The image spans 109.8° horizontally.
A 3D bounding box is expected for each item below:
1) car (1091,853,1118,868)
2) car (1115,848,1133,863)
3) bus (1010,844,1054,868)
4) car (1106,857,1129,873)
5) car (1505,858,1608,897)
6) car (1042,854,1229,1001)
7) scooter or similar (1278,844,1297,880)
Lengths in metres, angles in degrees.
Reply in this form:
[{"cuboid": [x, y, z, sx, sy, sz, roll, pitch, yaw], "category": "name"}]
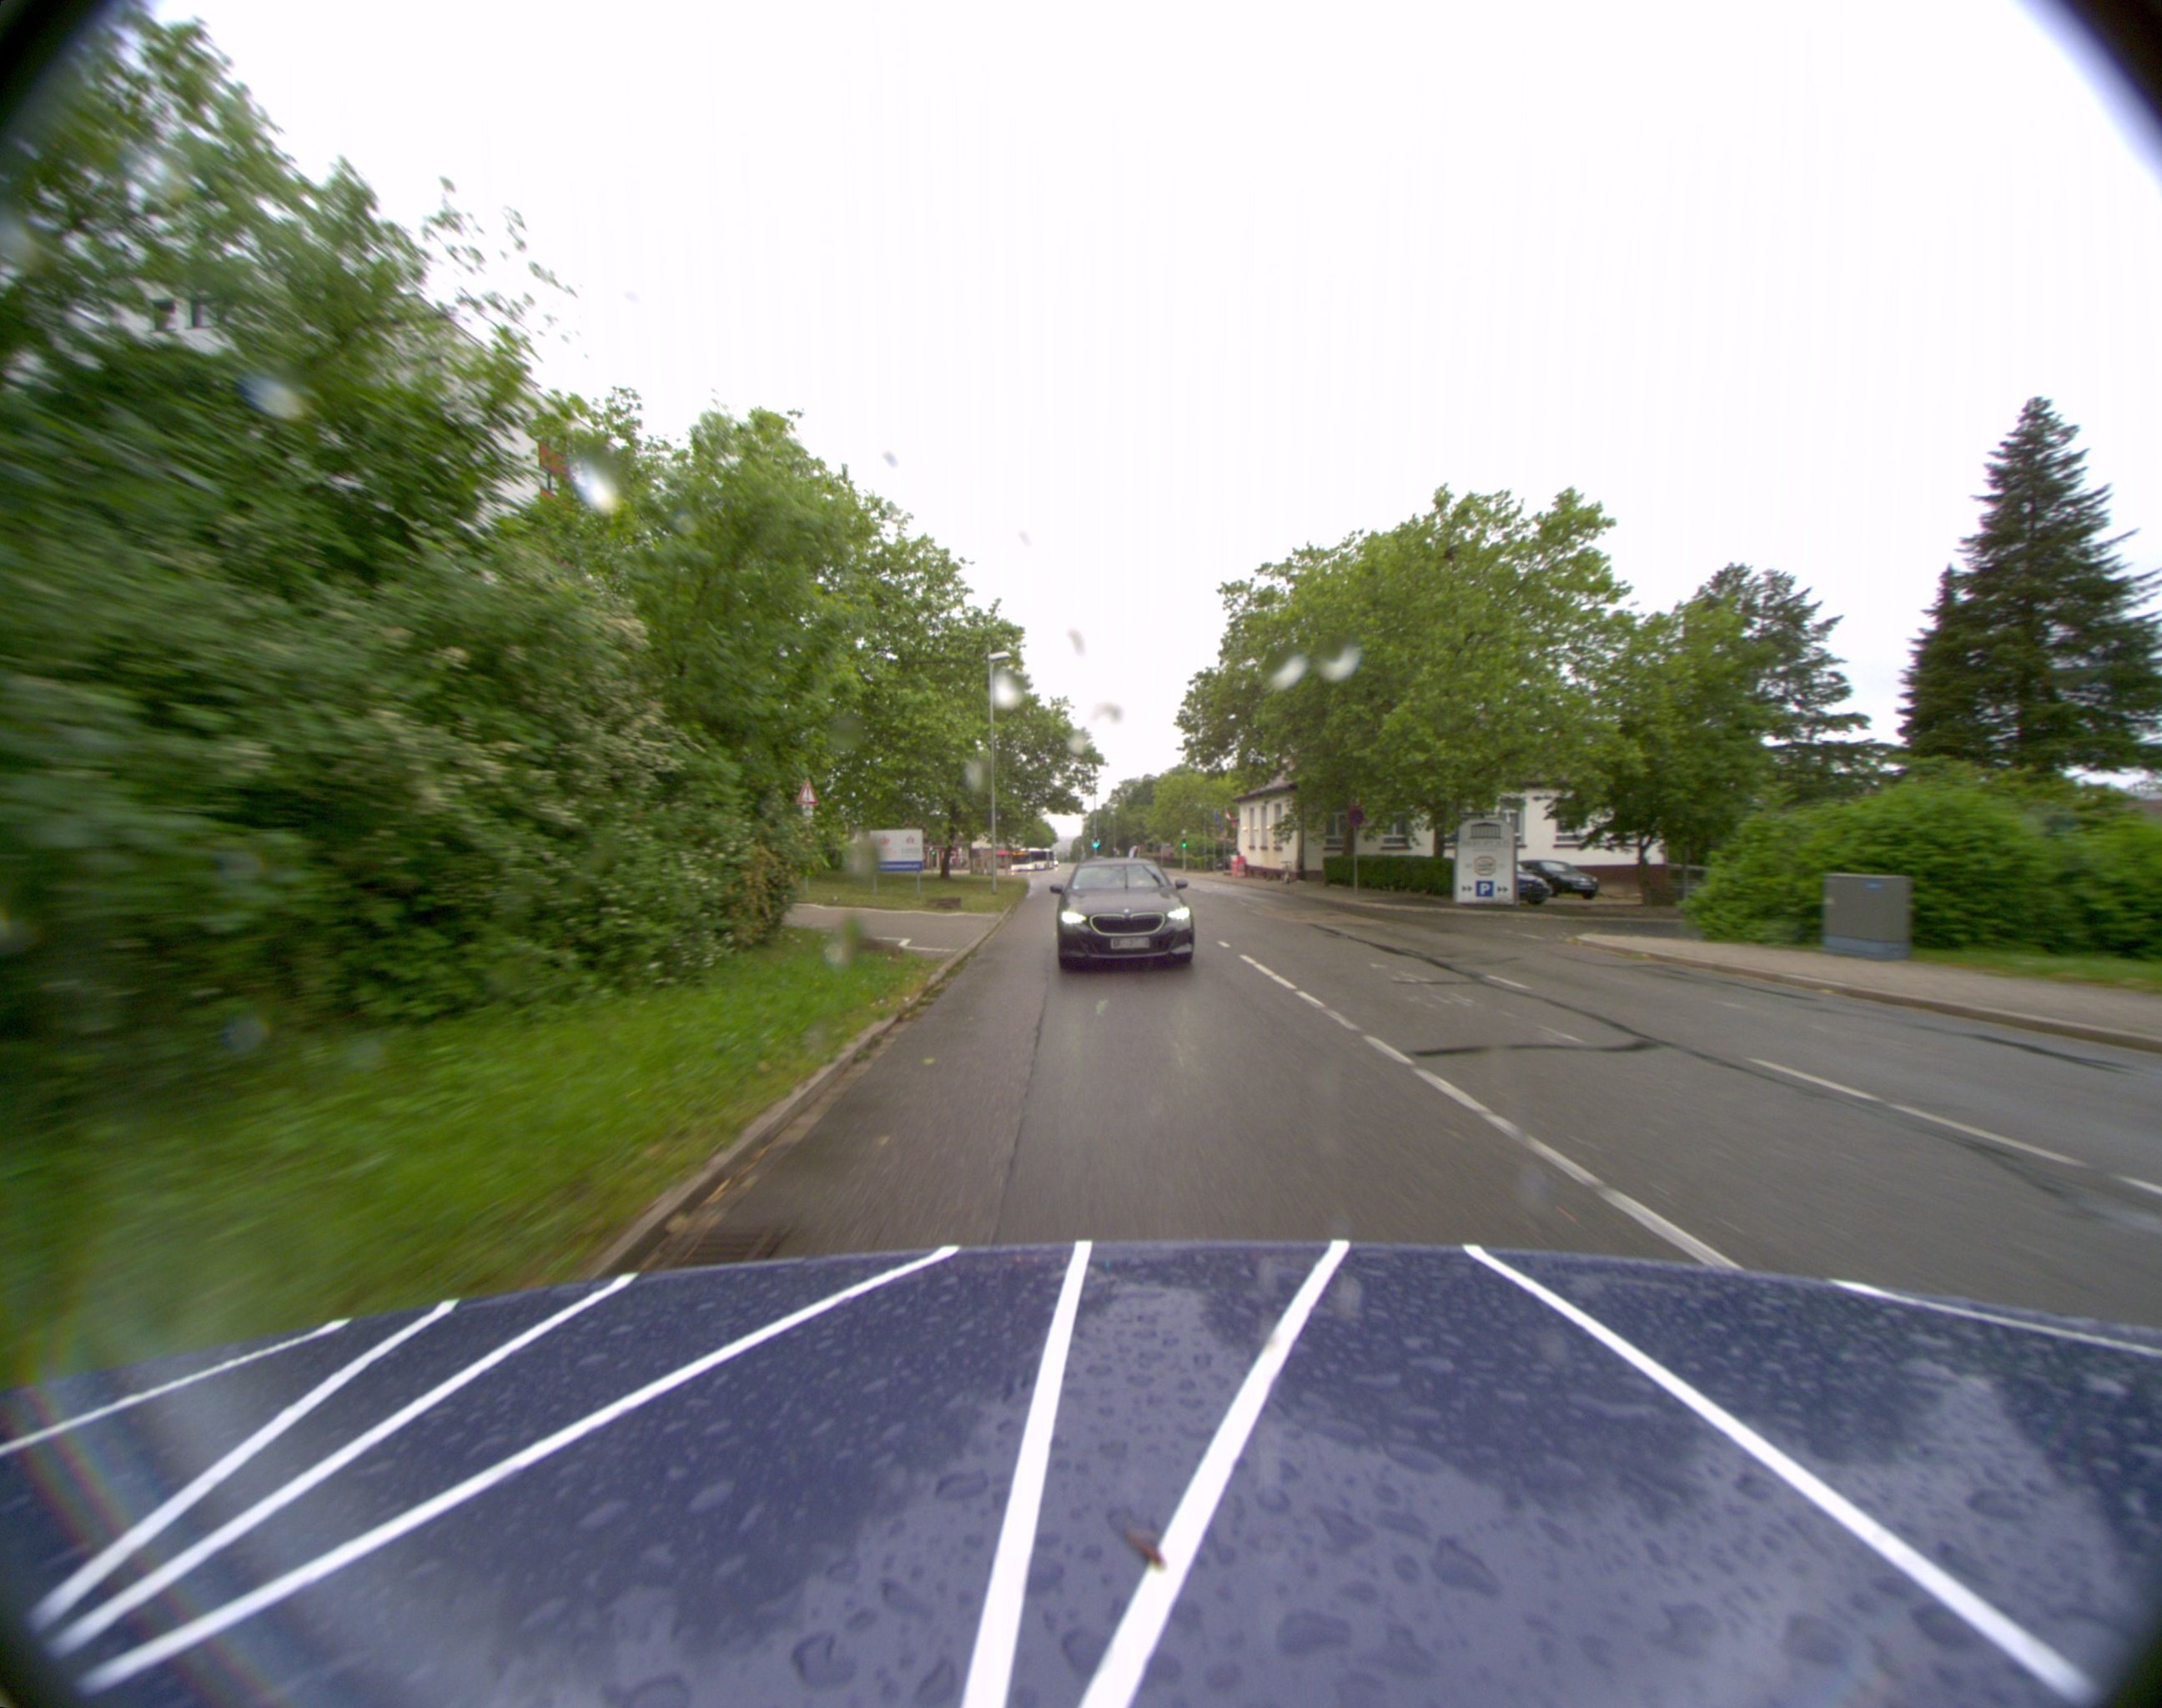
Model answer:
[{"cuboid": [2.570, 0.695, 84.240, 2.001, 1.652, 4.299, -1, 0, -13], "category": "car"}, {"cuboid": [7.053, 0.183, 124.186, 1.997, 1.675, 3.999, -9, 5, 13], "category": "car"}, {"cuboid": [-6.467, 0.179, 102.474, 2.895, 2.770, 10.393, -4, 1, 12], "category": "bus"}, {"cuboid": [3.638, 1.123, 76.841, 1.998, 1.420, 4.388, 3, -1, 0], "category": "car"}, {"cuboid": [21.846, 1.043, 35.129, 1.999, 1.675, 4.257, 0, 0, -2], "category": "car"}, {"cuboid": [0.535, 0.859, 10.879, 1.999, 1.586, 4.146, -3, 0, -5], "category": "car"}, {"cuboid": [10.310, 0.384, 37.960, 0.402, 1.765, 1.512, -2, 2, -5], "category": "scooter or similar"}]
